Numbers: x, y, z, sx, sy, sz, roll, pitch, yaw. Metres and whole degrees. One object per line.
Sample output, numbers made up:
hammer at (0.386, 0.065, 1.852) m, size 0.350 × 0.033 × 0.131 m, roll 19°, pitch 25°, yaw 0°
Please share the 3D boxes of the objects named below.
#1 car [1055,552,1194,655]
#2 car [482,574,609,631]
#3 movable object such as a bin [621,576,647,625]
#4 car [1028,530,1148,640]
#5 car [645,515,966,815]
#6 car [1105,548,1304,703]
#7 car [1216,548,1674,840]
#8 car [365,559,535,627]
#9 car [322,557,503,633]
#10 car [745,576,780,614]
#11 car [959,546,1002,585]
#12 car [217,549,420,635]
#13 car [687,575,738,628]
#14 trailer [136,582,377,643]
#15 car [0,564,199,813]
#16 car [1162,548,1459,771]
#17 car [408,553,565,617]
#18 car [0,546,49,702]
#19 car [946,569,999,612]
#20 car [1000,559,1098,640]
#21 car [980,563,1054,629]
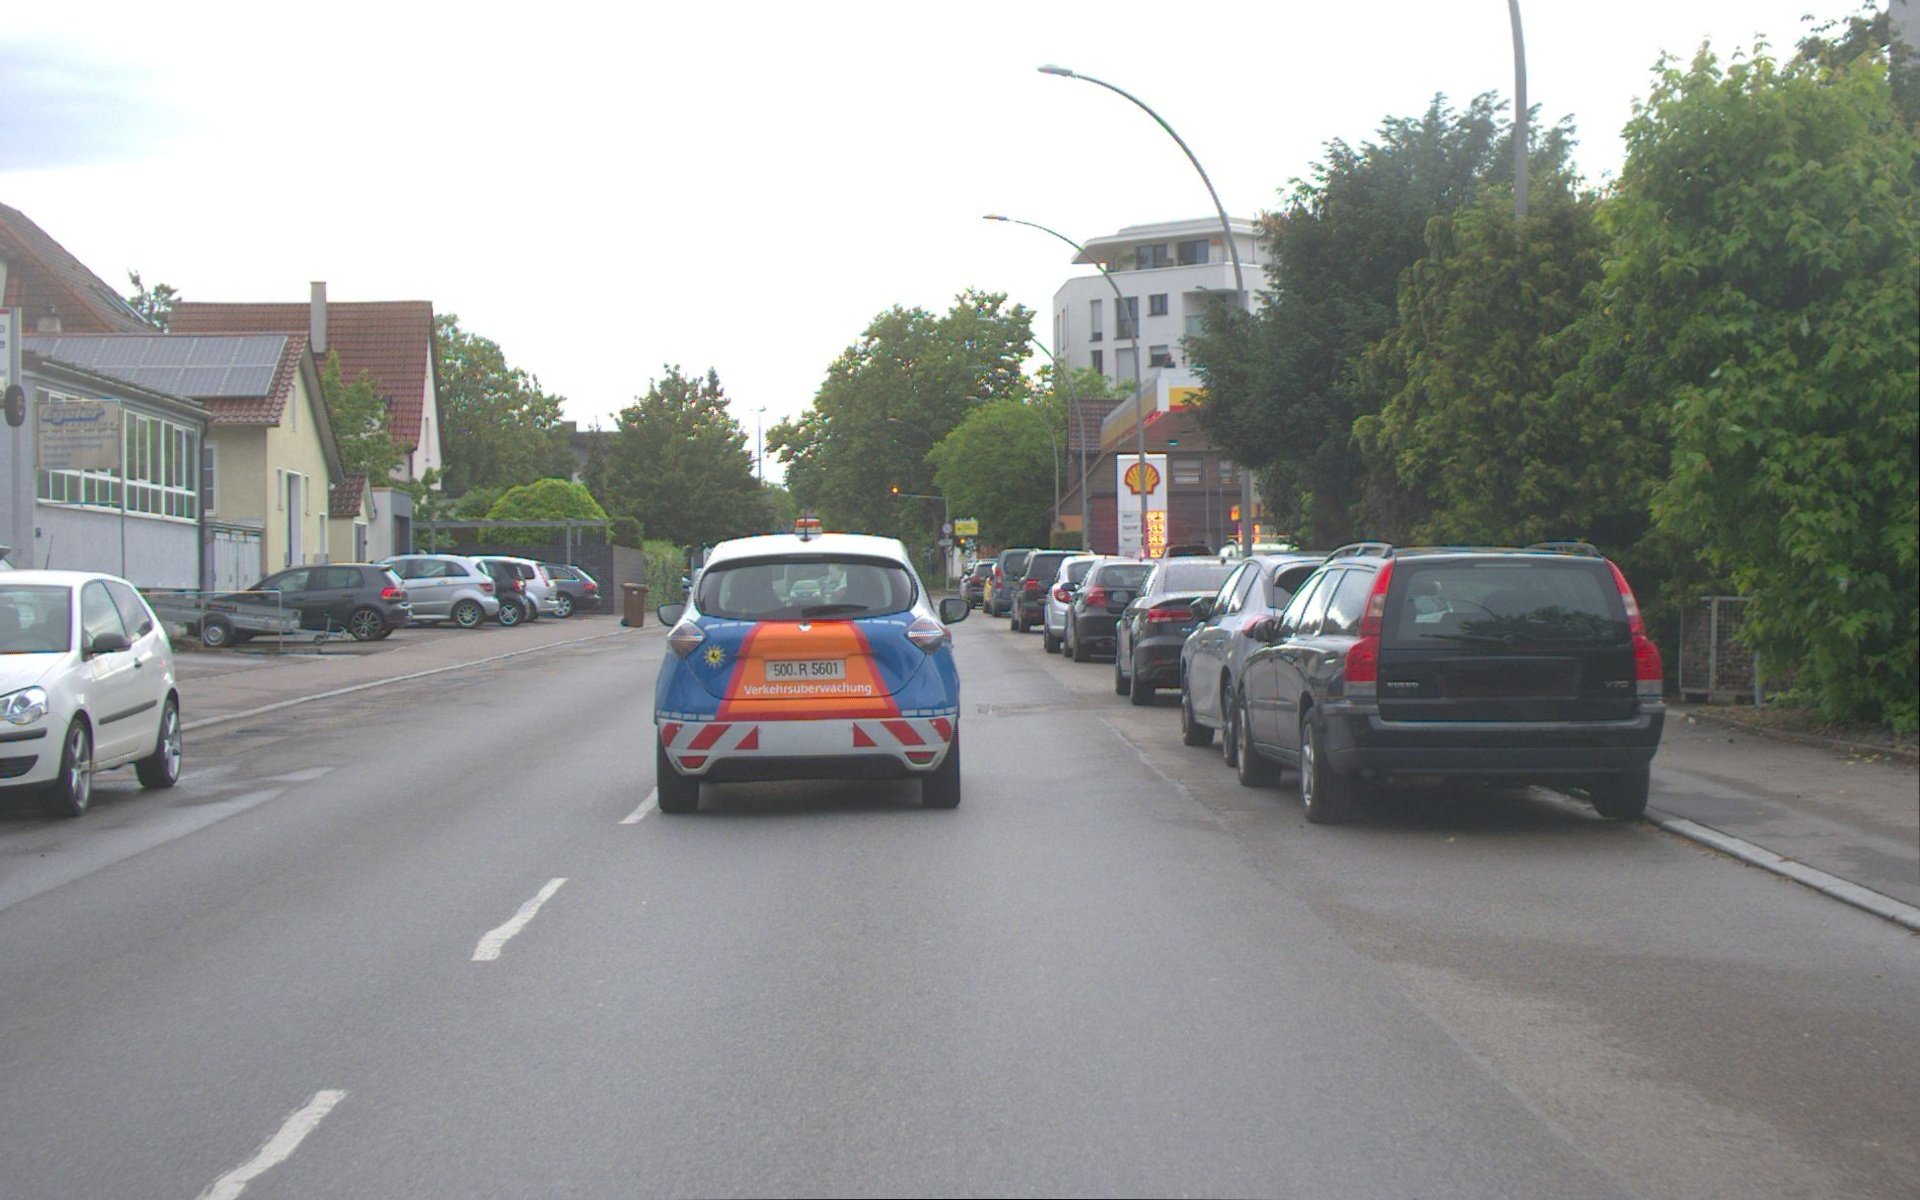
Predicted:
car at (2.207, 0.013, 46.977) m, size 1.650 × 1.331 × 4.000 m, roll 0°, pitch 1°, yaw -1°
car at (-11.022, 0.053, 91.476) m, size 3.281 × 1.443 × 1.480 m, roll -1°, pitch 1°, yaw -5°
movable object such as a bin at (-8.111, 0.015, 85.525) m, size 0.579 × 1.200 × 0.318 m, roll 1°, pitch 0°, yaw -1°
car at (1.895, -0.212, 51.928) m, size 1.481 × 1.550 × 3.861 m, roll 2°, pitch 0°, yaw -2°
car at (-0.883, 0.344, 20.401) m, size 1.731 × 1.625 × 3.495 m, roll 0°, pitch 0°, yaw -1°
car at (2.308, 0.227, 33.279) m, size 1.605 × 1.369 × 4.087 m, roll 1°, pitch 0°, yaw 0°
car at (2.614, 0.464, 19.565) m, size 1.711 × 1.433 × 4.527 m, roll 1°, pitch 0°, yaw -3°
car at (-11.770, -0.160, 79.559) m, size 3.759 × 1.478 × 1.655 m, roll 1°, pitch 0°, yaw -5°
car at (-11.943, -0.112, 75.195) m, size 3.759 × 1.571 × 1.655 m, roll 1°, pitch 0°, yaw -5°
car at (-6.813, -0.181, 118.827) m, size 1.151 × 1.228 × 3.373 m, roll 0°, pitch 1°, yaw -2°
car at (0.868, -1.483, 149.114) m, size 1.650 × 1.647 × 4.000 m, roll 1°, pitch 0°, yaw -2°
car at (-12.029, -0.149, 64.609) m, size 3.579 × 1.521 × 1.655 m, roll 1°, pitch 0°, yaw -5°
car at (-7.219, 0.031, 100.427) m, size 1.386 × 1.478 × 3.784 m, roll 0°, pitch 1°, yaw -2°
trailer at (-12.684, 0.226, 62.140) m, size 4.022 × 0.991 × 1.655 m, roll 1°, pitch 0°, yaw -2°
car at (-6.049, 0.487, 21.817) m, size 1.557 × 1.428 × 4.000 m, roll 1°, pitch 0°, yaw -1°
car at (2.407, 0.363, 24.404) m, size 1.539 × 1.424 × 3.751 m, roll 1°, pitch 1°, yaw -2°
car at (-11.473, -0.379, 83.433) m, size 3.653 × 1.478 × 1.480 m, roll -1°, pitch 1°, yaw -5°
car at (-11.459, 0.194, 35.305) m, size 3.759 × 1.562 × 1.655 m, roll 1°, pitch 0°, yaw -2°
car at (0.421, -0.345, 121.760) m, size 1.650 × 1.478 × 4.000 m, roll 1°, pitch 0°, yaw -2°
car at (1.734, -0.027, 68.056) m, size 1.650 × 1.516 × 4.000 m, roll 1°, pitch 0°, yaw -2°
car at (1.470, -0.114, 89.829) m, size 1.650 × 1.666 × 4.000 m, roll 1°, pitch 0°, yaw -2°
